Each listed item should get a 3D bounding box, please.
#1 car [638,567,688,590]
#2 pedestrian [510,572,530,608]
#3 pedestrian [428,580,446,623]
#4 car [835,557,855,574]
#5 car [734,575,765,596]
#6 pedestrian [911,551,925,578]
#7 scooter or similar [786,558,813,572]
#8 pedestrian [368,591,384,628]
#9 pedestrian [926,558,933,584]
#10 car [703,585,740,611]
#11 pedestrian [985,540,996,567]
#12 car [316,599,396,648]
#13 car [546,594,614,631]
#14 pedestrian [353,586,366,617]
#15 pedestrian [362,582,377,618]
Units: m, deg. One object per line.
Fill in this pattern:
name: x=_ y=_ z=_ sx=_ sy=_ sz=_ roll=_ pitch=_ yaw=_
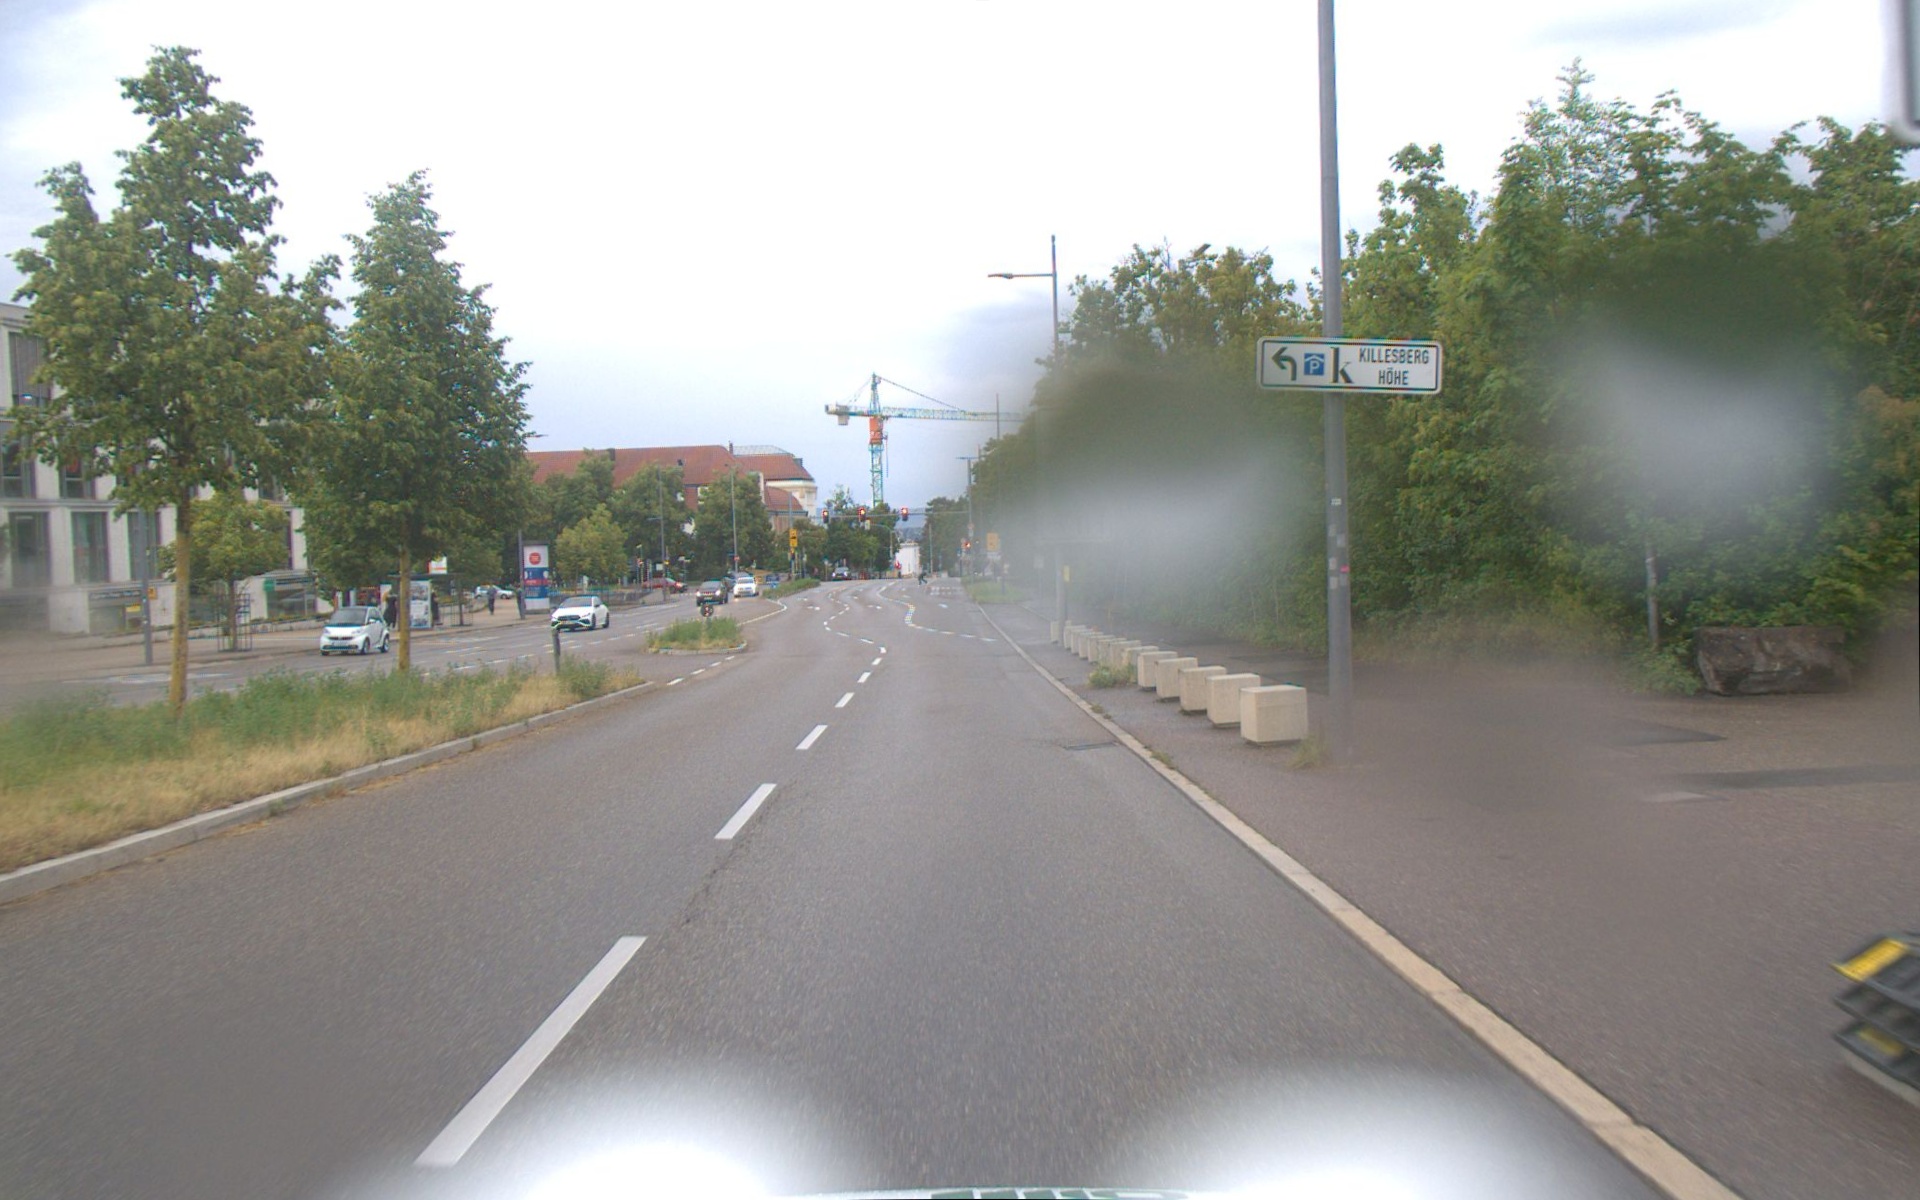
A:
car: x=-27.199 y=-1.989 z=151.478 sx=3.905 sy=1.950 sz=2.000 roll=-2 pitch=1 yaw=22
pedestrian: x=-23.065 y=-0.531 z=86.723 sx=0.737 sy=1.874 sz=0.747 roll=-2 pitch=1 yaw=1
pedestrian: x=-23.289 y=0.042 z=73.684 sx=0.497 sy=1.874 sz=0.755 roll=-2 pitch=1 yaw=-2
car: x=-13.296 y=-3.957 z=191.626 sx=1.953 sy=1.870 sz=4.000 roll=-1 pitch=0 yaw=0
car: x=-16.331 y=-1.118 z=128.434 sx=1.835 sy=1.454 sz=4.175 roll=-5 pitch=1 yaw=-1
pedestrian: x=-3.422 y=-2.889 z=134.409 sx=0.921 sy=2.048 sz=0.848 roll=-5 pitch=1 yaw=5
scooter or similar: x=-18.862 y=-4.118 z=194.201 sx=3.026 sy=1.465 sz=0.948 roll=-3 pitch=2 yaw=-3
pedestrian: x=-28.127 y=0.440 z=79.653 sx=0.514 sy=1.755 sz=0.566 roll=-2 pitch=1 yaw=1
pedestrian: x=-2.488 y=-2.339 z=134.485 sx=0.392 sy=2.048 sz=0.514 roll=-5 pitch=1 yaw=5
car: x=-15.476 y=-0.140 z=107.583 sx=1.809 sy=1.487 sz=3.867 roll=-3 pitch=1 yaw=-1
pedestrian: x=2.271 y=-3.398 z=121.609 sx=0.628 sy=1.933 sz=0.717 roll=-3 pitch=2 yaw=-6
car: x=-20.131 y=0.762 z=55.252 sx=1.581 sy=1.534 sz=2.972 roll=-1 pitch=1 yaw=-1
car: x=-16.577 y=0.502 z=72.324 sx=1.953 sy=1.443 sz=4.512 roll=-2 pitch=1 yaw=-1
pedestrian: x=-29.162 y=0.083 z=80.306 sx=0.417 sy=1.476 sz=0.510 roll=-2 pitch=1 yaw=0
pedestrian: x=-28.989 y=0.009 z=81.211 sx=0.417 sy=1.755 sz=0.621 roll=-2 pitch=1 yaw=0
